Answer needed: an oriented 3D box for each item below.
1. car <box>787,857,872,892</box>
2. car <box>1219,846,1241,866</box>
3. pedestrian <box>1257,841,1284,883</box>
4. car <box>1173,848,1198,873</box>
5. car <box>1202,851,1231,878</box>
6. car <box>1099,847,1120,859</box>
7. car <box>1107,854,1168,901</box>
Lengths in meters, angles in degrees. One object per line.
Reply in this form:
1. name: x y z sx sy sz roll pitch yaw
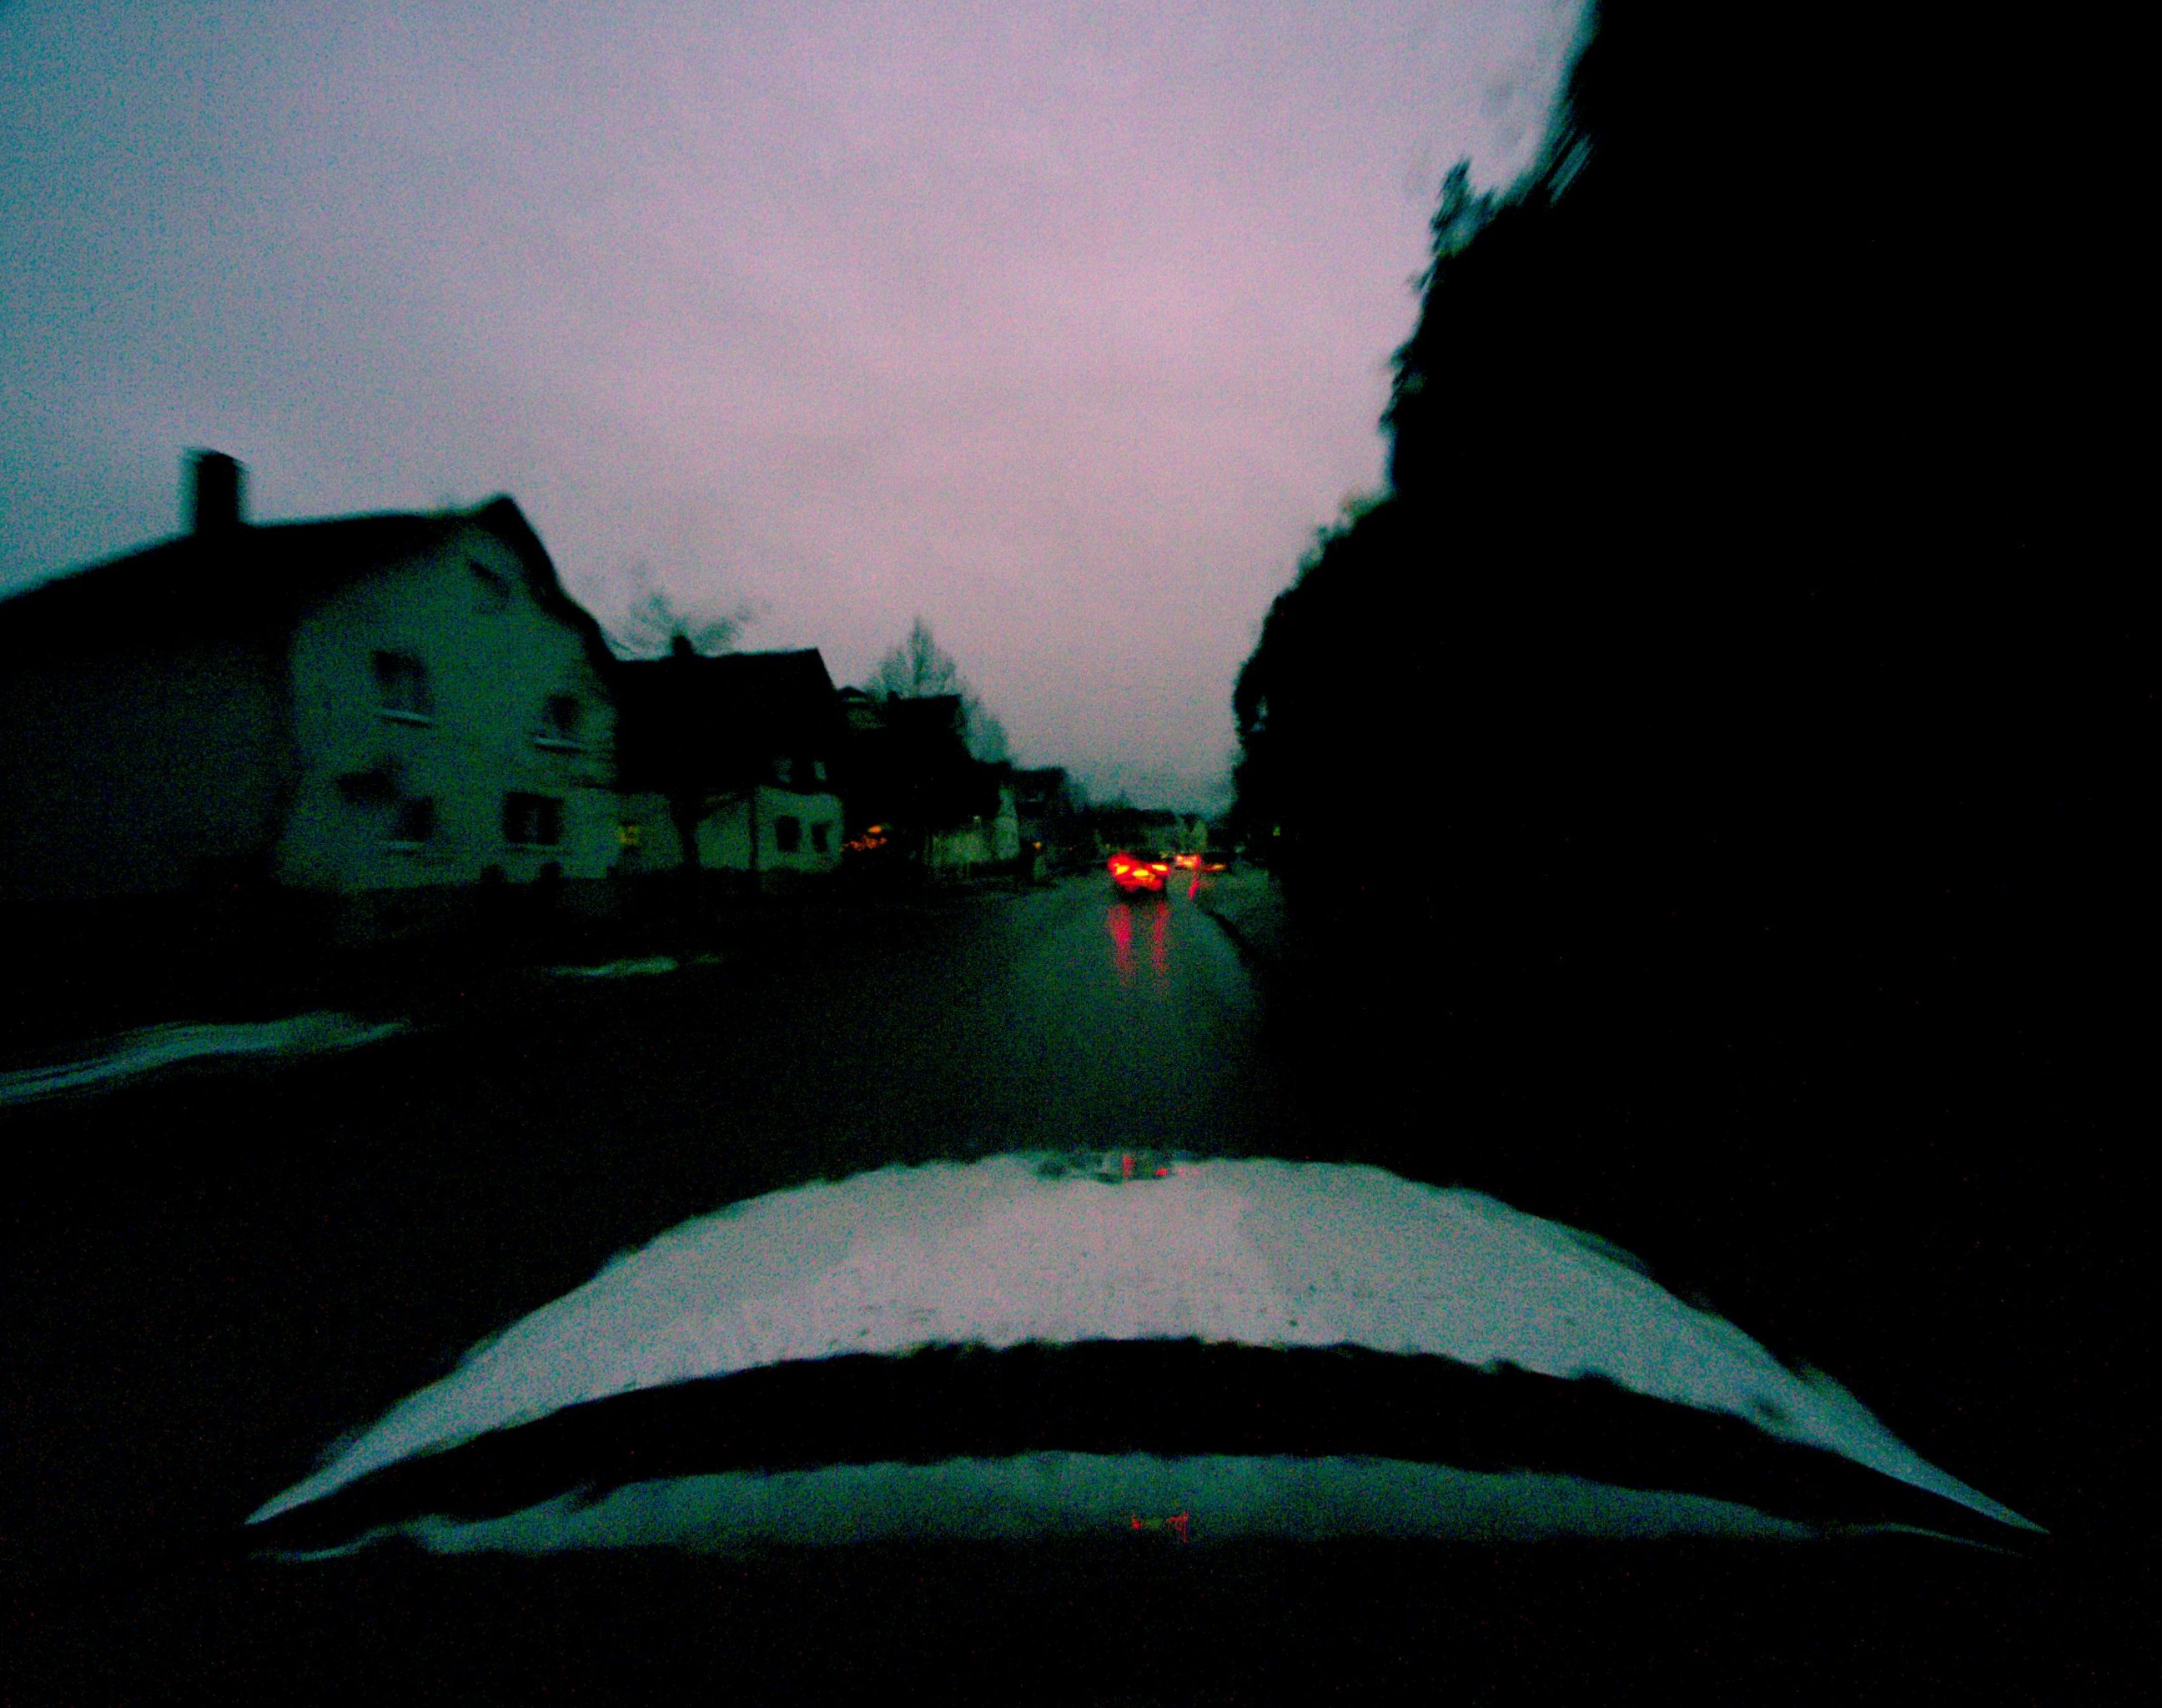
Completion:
1. car: -10.610 0.851 34.681 1.771 1.366 4.011 -1 -1 10
2. car: 16.225 0.182 88.640 1.964 2.013 5.765 -4 0 13
3. pedestrian: 8.140 0.335 35.038 0.981 1.742 1.059 -3 -1 9
4. car: 8.489 0.533 66.026 1.982 2.014 4.009 -1 -1 8
5. car: 8.158 0.639 49.060 1.639 1.540 3.400 -1 -1 10
6. car: 5.021 -0.169 142.473 1.975 2.013 4.024 0 0 28
7. car: 2.051 0.793 28.947 1.984 1.525 4.006 -1 0 5
